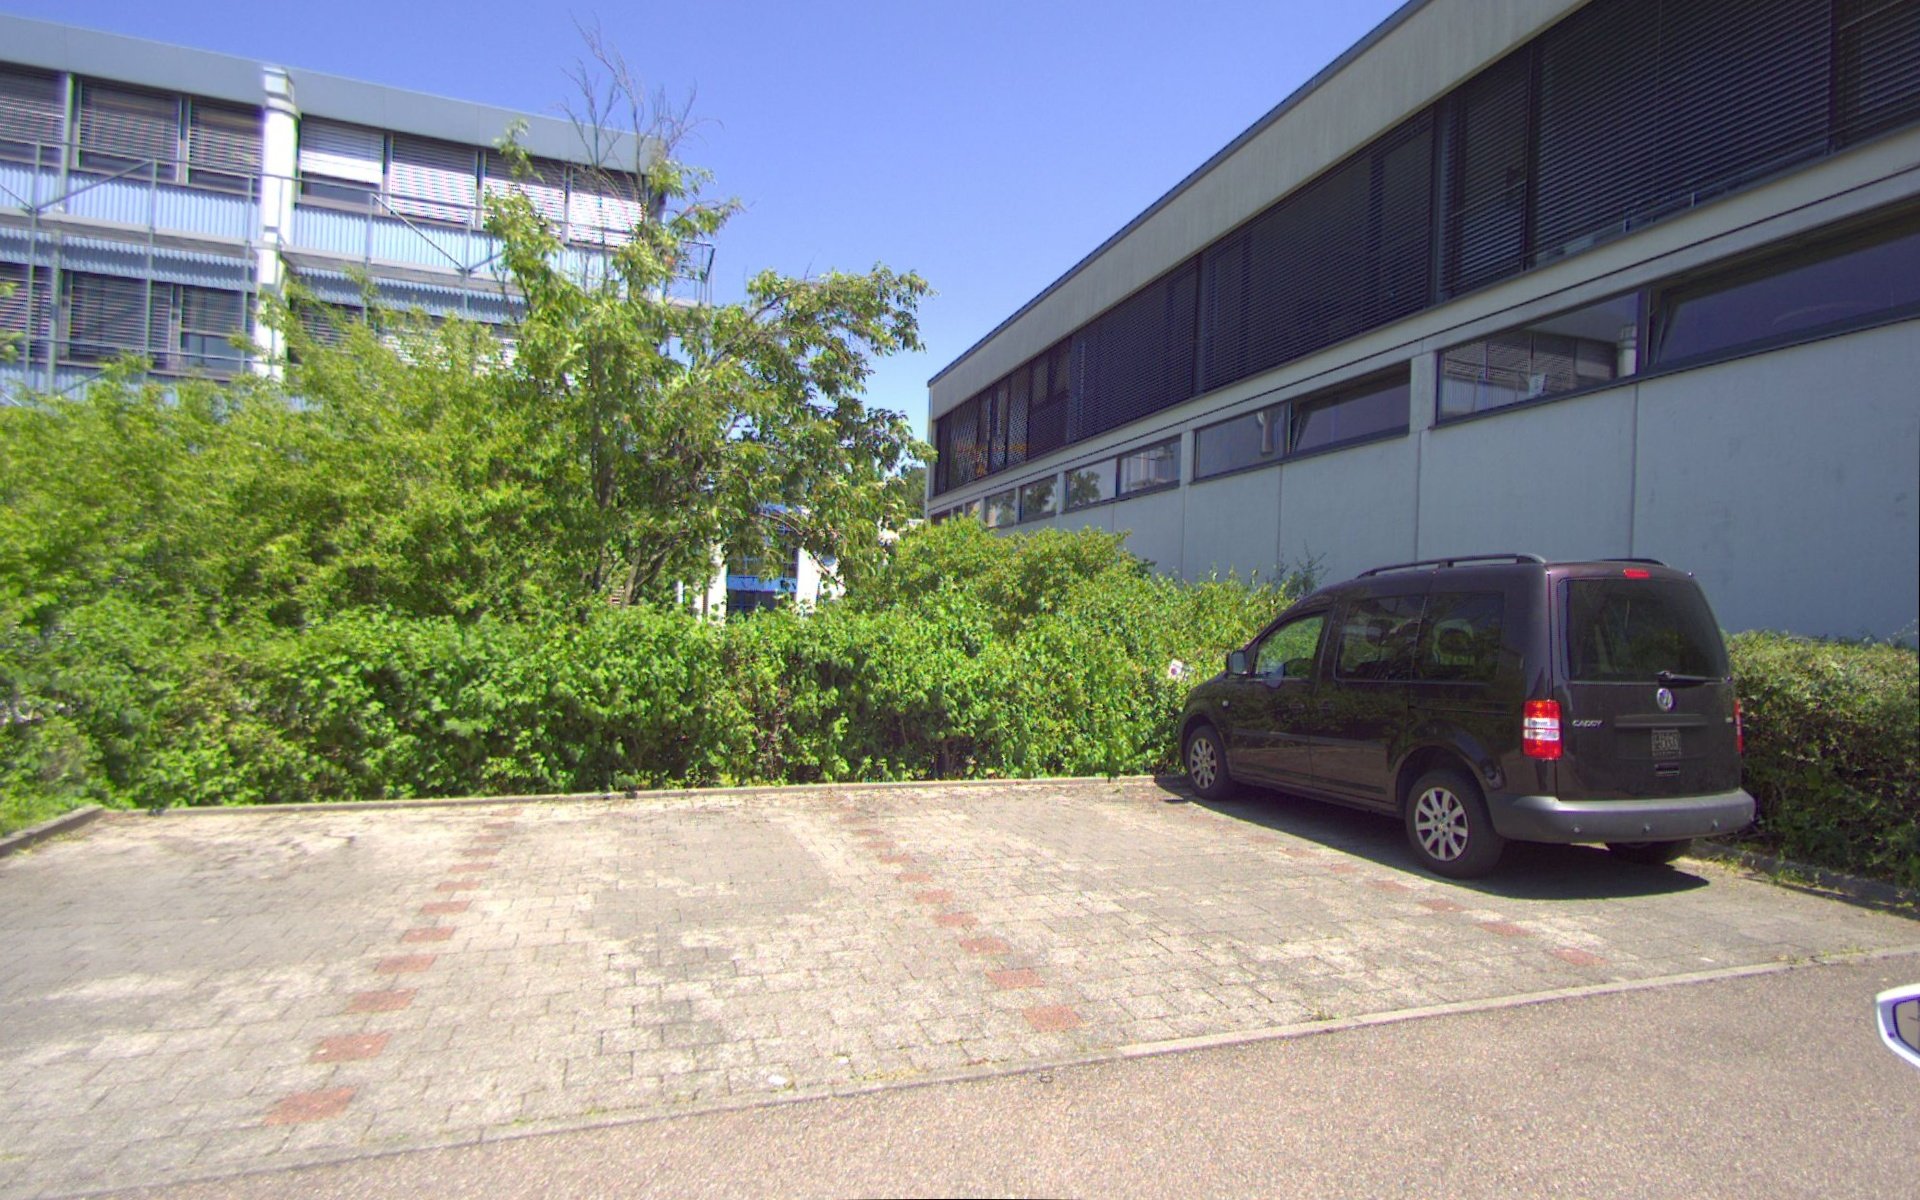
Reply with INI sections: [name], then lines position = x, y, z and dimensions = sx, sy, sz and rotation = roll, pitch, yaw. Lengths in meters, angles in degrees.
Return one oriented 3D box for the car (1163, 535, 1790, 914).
[car]
position = 3.204, 0.657, 7.249
dimensions = 1.652, 1.909, 4.056
rotation = 2, -1, -17
